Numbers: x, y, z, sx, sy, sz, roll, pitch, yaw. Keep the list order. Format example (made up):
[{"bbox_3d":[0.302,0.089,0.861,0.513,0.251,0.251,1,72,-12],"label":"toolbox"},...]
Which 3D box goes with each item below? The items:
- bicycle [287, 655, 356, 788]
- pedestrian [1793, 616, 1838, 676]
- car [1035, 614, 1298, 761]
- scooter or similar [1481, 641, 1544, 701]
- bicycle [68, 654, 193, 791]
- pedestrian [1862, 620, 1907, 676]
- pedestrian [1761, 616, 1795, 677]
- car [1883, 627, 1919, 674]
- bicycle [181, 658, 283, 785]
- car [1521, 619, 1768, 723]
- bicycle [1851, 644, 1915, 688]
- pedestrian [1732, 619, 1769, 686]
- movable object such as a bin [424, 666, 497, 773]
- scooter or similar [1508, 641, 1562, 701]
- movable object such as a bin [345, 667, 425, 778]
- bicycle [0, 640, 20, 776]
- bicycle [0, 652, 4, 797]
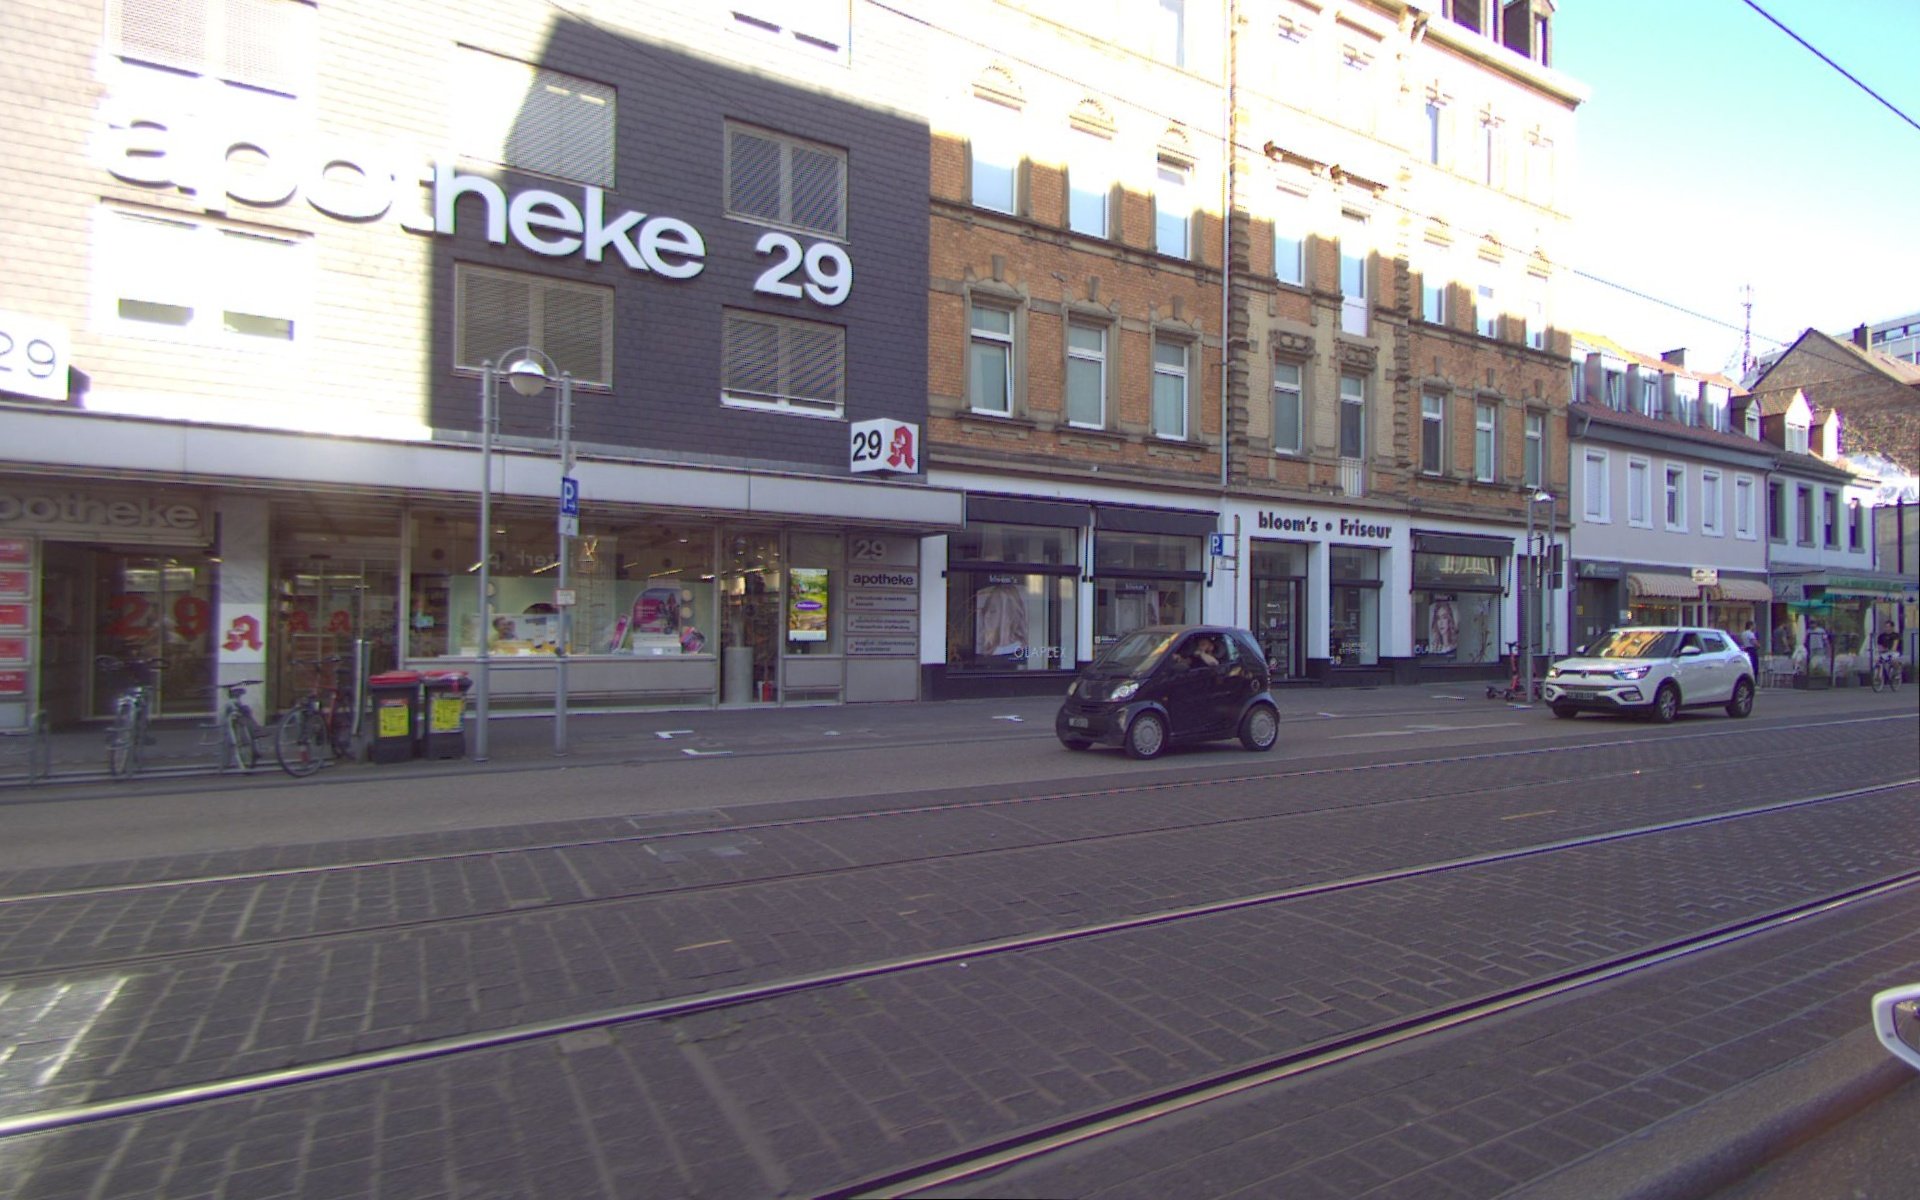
[{"bbox_3d":[-6.686,1.205,10.512,0.546,1.206,1.923,1,-2,-33],"label":"bicycle"},{"bbox_3d":[26.155,1.395,30.726,0.680,1.799,0.881,1,-1,-31],"label":"pedestrian"},{"bbox_3d":[2.530,0.986,12.304,2.795,1.586,1.641,1,-1,-29],"label":"car"},{"bbox_3d":[12.046,1.526,21.879,1.461,1.218,0.576,1,0,-33],"label":"scooter or similar"},{"bbox_3d":[-8.282,1.164,10.104,0.766,1.167,1.922,1,-1,-34],"label":"bicycle"},{"bbox_3d":[24.669,1.283,26.809,0.862,1.463,0.622,2,-1,-25],"label":"pedestrian"},{"bbox_3d":[25.109,1.409,30.825,0.636,1.847,0.652,1,-1,-35],"label":"pedestrian"},{"bbox_3d":[34.116,1.788,34.726,4.702,1.552,1.984,2,-1,-31],"label":"car"},{"bbox_3d":[-7.476,1.193,10.390,0.766,1.125,1.922,1,-2,-34],"label":"bicycle"},{"bbox_3d":[12.023,1.193,17.609,4.211,1.615,1.882,1,-3,-30],"label":"car"},{"bbox_3d":[24.606,1.743,26.773,1.926,1.130,0.576,1,-2,-26],"label":"bicycle"},{"bbox_3d":[21.498,1.418,27.340,0.603,1.799,0.718,0,-1,22],"label":"pedestrian"},{"bbox_3d":[-5.704,1.330,11.446,0.690,1.077,1.094,1,0,-29],"label":"movable object such as a bin"},{"bbox_3d":[12.285,1.502,21.456,1.461,1.218,0.362,1,1,-33],"label":"scooter or similar"},{"bbox_3d":[-6.330,1.317,11.096,0.726,1.086,1.094,1,0,-29],"label":"movable object such as a bin"},{"bbox_3d":[-9.562,1.059,9.426,0.766,1.297,1.922,1,0,-34],"label":"bicycle"},{"bbox_3d":[-8.923,1.073,7.808,2.001,1.310,0.747,1,-2,-30],"label":"bicycle"}]
